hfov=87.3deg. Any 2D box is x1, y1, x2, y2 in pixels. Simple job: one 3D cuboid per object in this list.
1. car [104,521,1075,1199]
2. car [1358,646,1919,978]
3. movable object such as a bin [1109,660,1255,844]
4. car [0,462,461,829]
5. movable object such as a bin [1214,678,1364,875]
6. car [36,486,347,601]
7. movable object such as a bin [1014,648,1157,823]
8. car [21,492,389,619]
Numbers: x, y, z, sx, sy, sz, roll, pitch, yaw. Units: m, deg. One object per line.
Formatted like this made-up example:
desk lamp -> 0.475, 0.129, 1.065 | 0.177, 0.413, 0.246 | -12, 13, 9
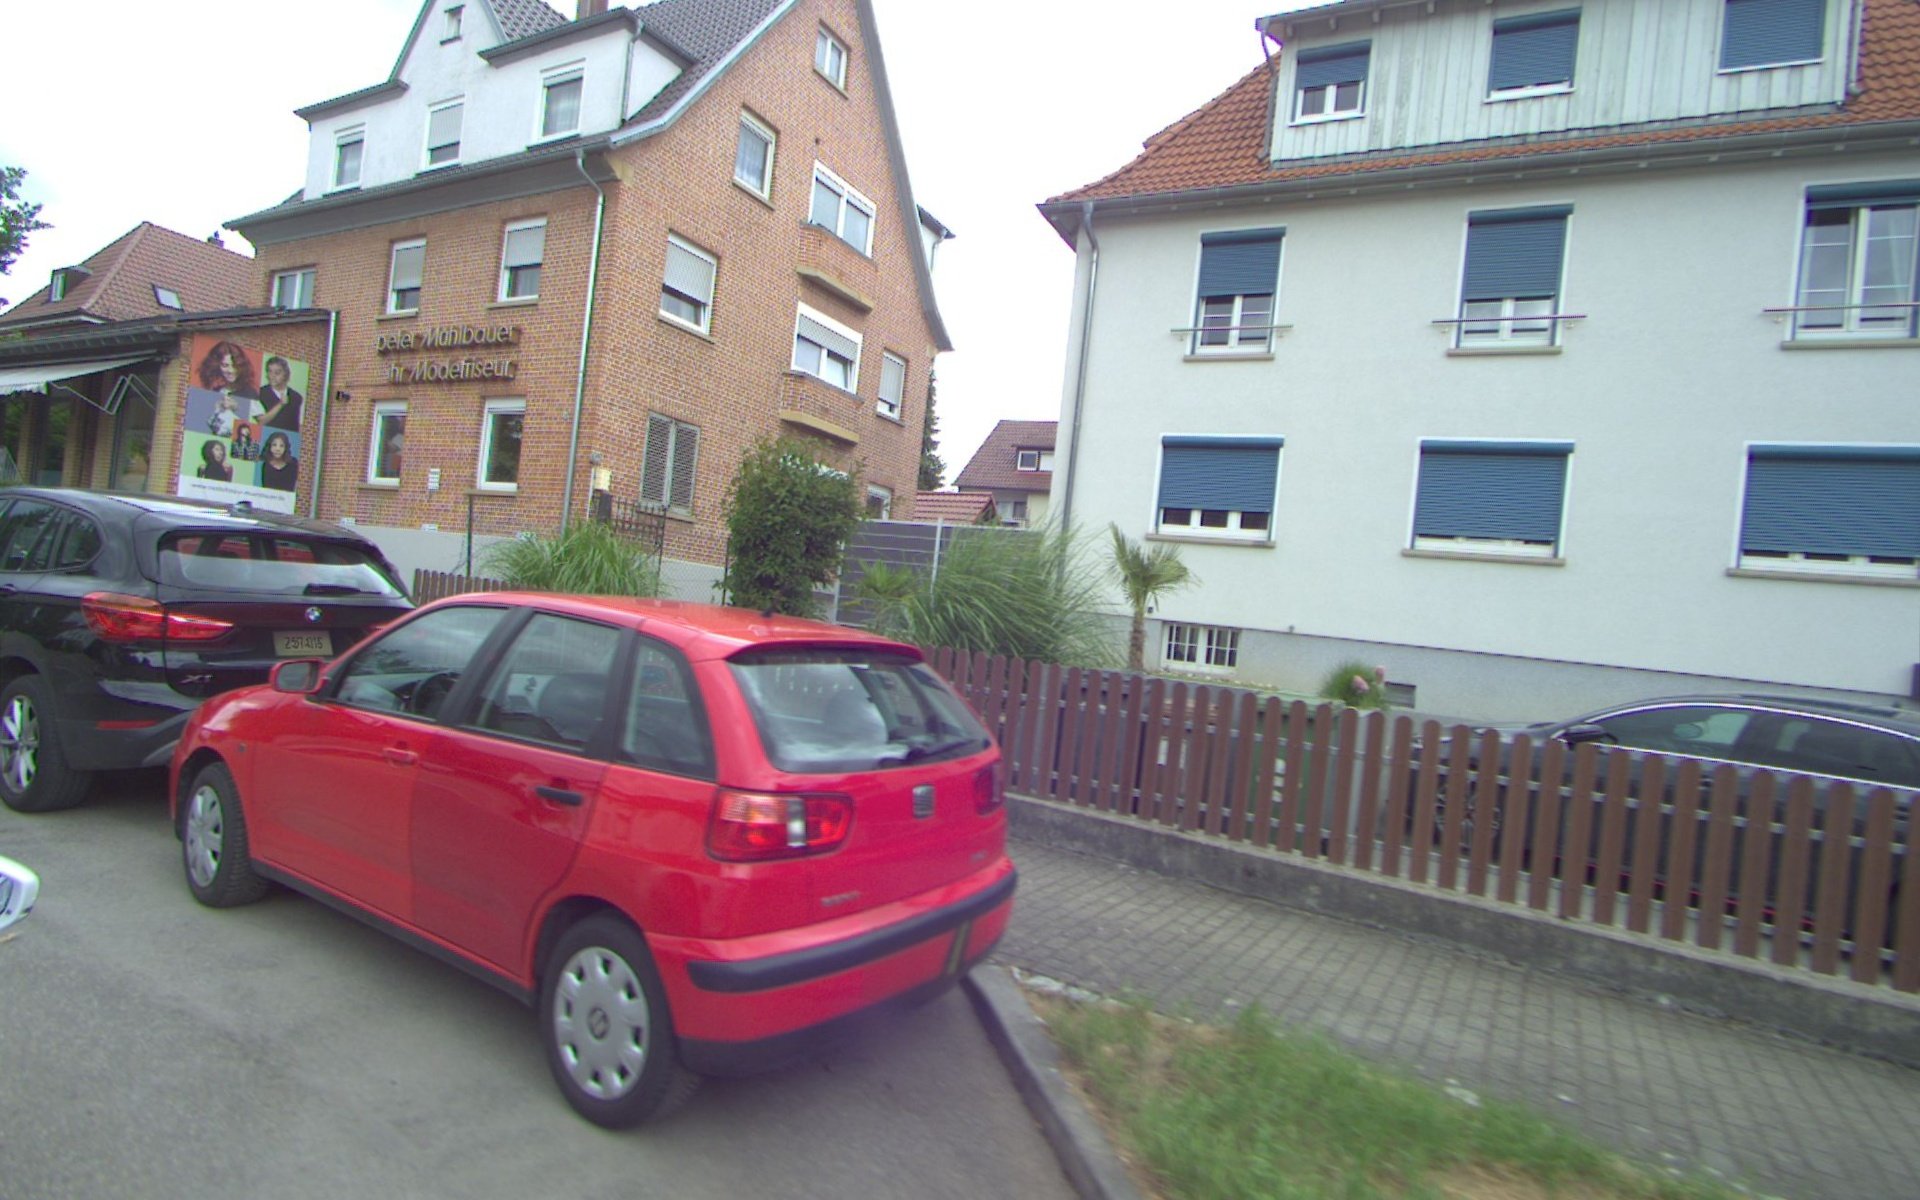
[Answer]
car -> -1.600, 0.609, 3.993 | 3.607, 1.409, 1.665 | 7, -1, 33
car -> 5.185, 1.288, 6.561 | 1.808, 1.398, 4.435 | 6, 0, -36
movable object such as a bin -> 1.566, 1.026, 7.044 | 0.680, 1.117, 0.777 | 7, 0, 30
car -> -5.160, 0.089, 6.138 | 4.028, 1.583, 1.666 | 7, -1, 29
movable object such as a bin -> 2.178, 1.118, 6.627 | 0.680, 1.117, 0.777 | 7, 0, 30
car -> -13.041, -0.890, 17.369 | 1.476, 1.580, 3.993 | 6, 2, 25
movable object such as a bin -> 0.933, 0.967, 7.397 | 0.680, 1.117, 0.777 | 7, 0, 30
car -> -11.008, -0.571, 15.016 | 1.777, 1.516, 3.995 | 6, 1, 23
